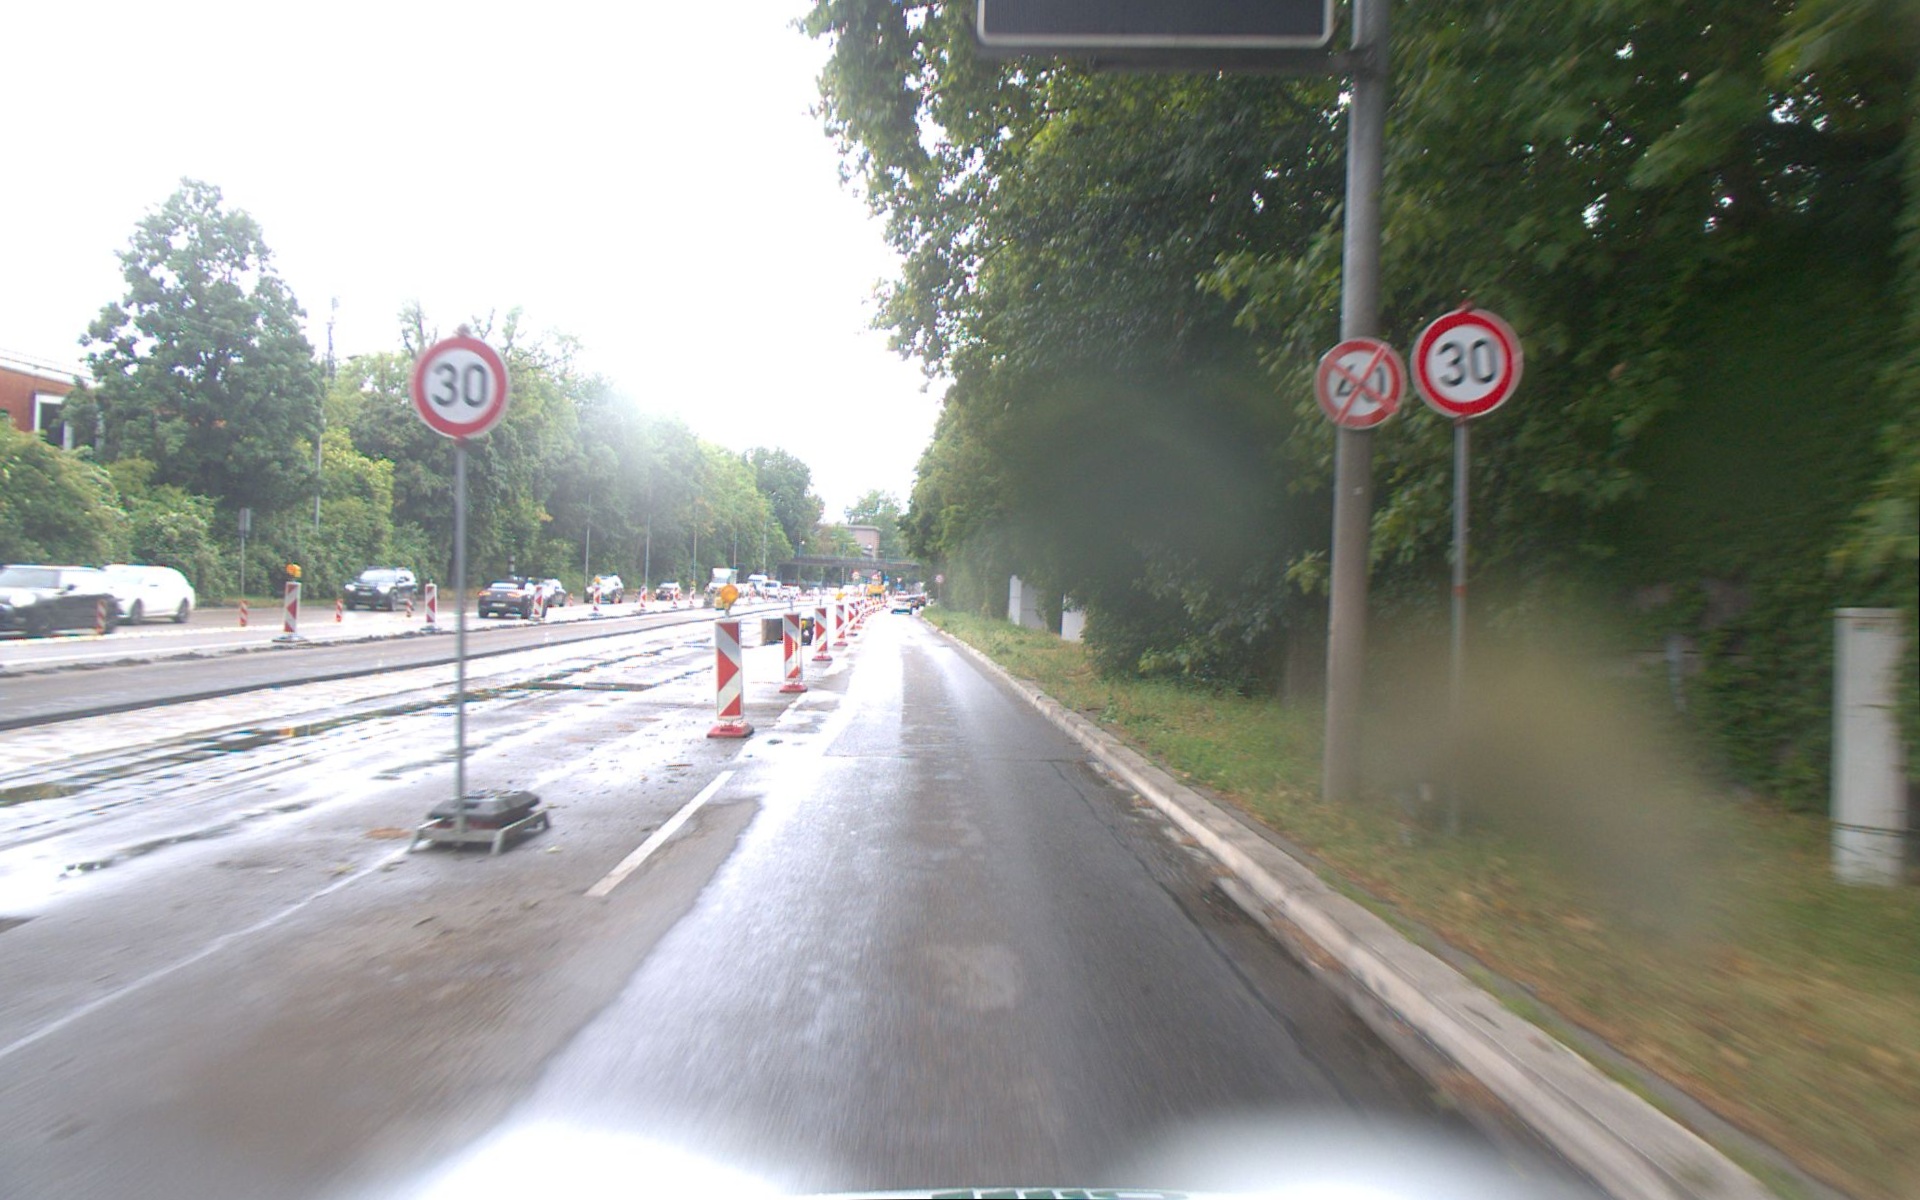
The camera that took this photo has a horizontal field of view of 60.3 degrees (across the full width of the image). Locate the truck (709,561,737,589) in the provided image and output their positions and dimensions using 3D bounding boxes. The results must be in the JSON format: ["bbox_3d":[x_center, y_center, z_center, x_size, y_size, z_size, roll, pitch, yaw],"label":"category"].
[{"bbox_3d":[-26.469,-2.758,185.232,2.200,2.991,6.933,2,0,-1],"label":"truck"}]

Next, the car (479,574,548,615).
[{"bbox_3d":[-16.757,-0.233,62.217,1.575,1.429,4.039,2,1,-2],"label":"car"}]

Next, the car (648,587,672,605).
[{"bbox_3d":[-23.808,-0.311,131.323,1.419,1.355,3.857,2,0,-5],"label":"car"}]

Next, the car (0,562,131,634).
[{"bbox_3d":[-18.884,-0.060,33.924,1.781,1.379,4.203,0,1,-2],"label":"car"}]

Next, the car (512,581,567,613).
[{"bbox_3d":[-21.362,-0.160,84.205,1.725,1.509,4.897,2,0,-3],"label":"car"}]

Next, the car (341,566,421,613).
[{"bbox_3d":[-22.762,-0.436,65.183,1.620,1.714,4.531,2,0,-2],"label":"car"}]

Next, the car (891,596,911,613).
[{"bbox_3d":[-4.937,0.338,138.270,1.663,1.359,3.489,0,0,-2],"label":"car"}]

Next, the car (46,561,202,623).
[{"bbox_3d":[-21.479,-0.222,42.729,1.781,1.444,4.601,2,0,-2],"label":"car"}]

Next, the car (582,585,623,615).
[{"bbox_3d":[-21.954,0.006,101.599,1.700,1.752,4.491,2,0,-3],"label":"car"}]

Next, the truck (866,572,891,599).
[{"bbox_3d":[-11.216,-2.059,229.245,3.194,3.558,13.864,2,1,-2],"label":"truck"}]
